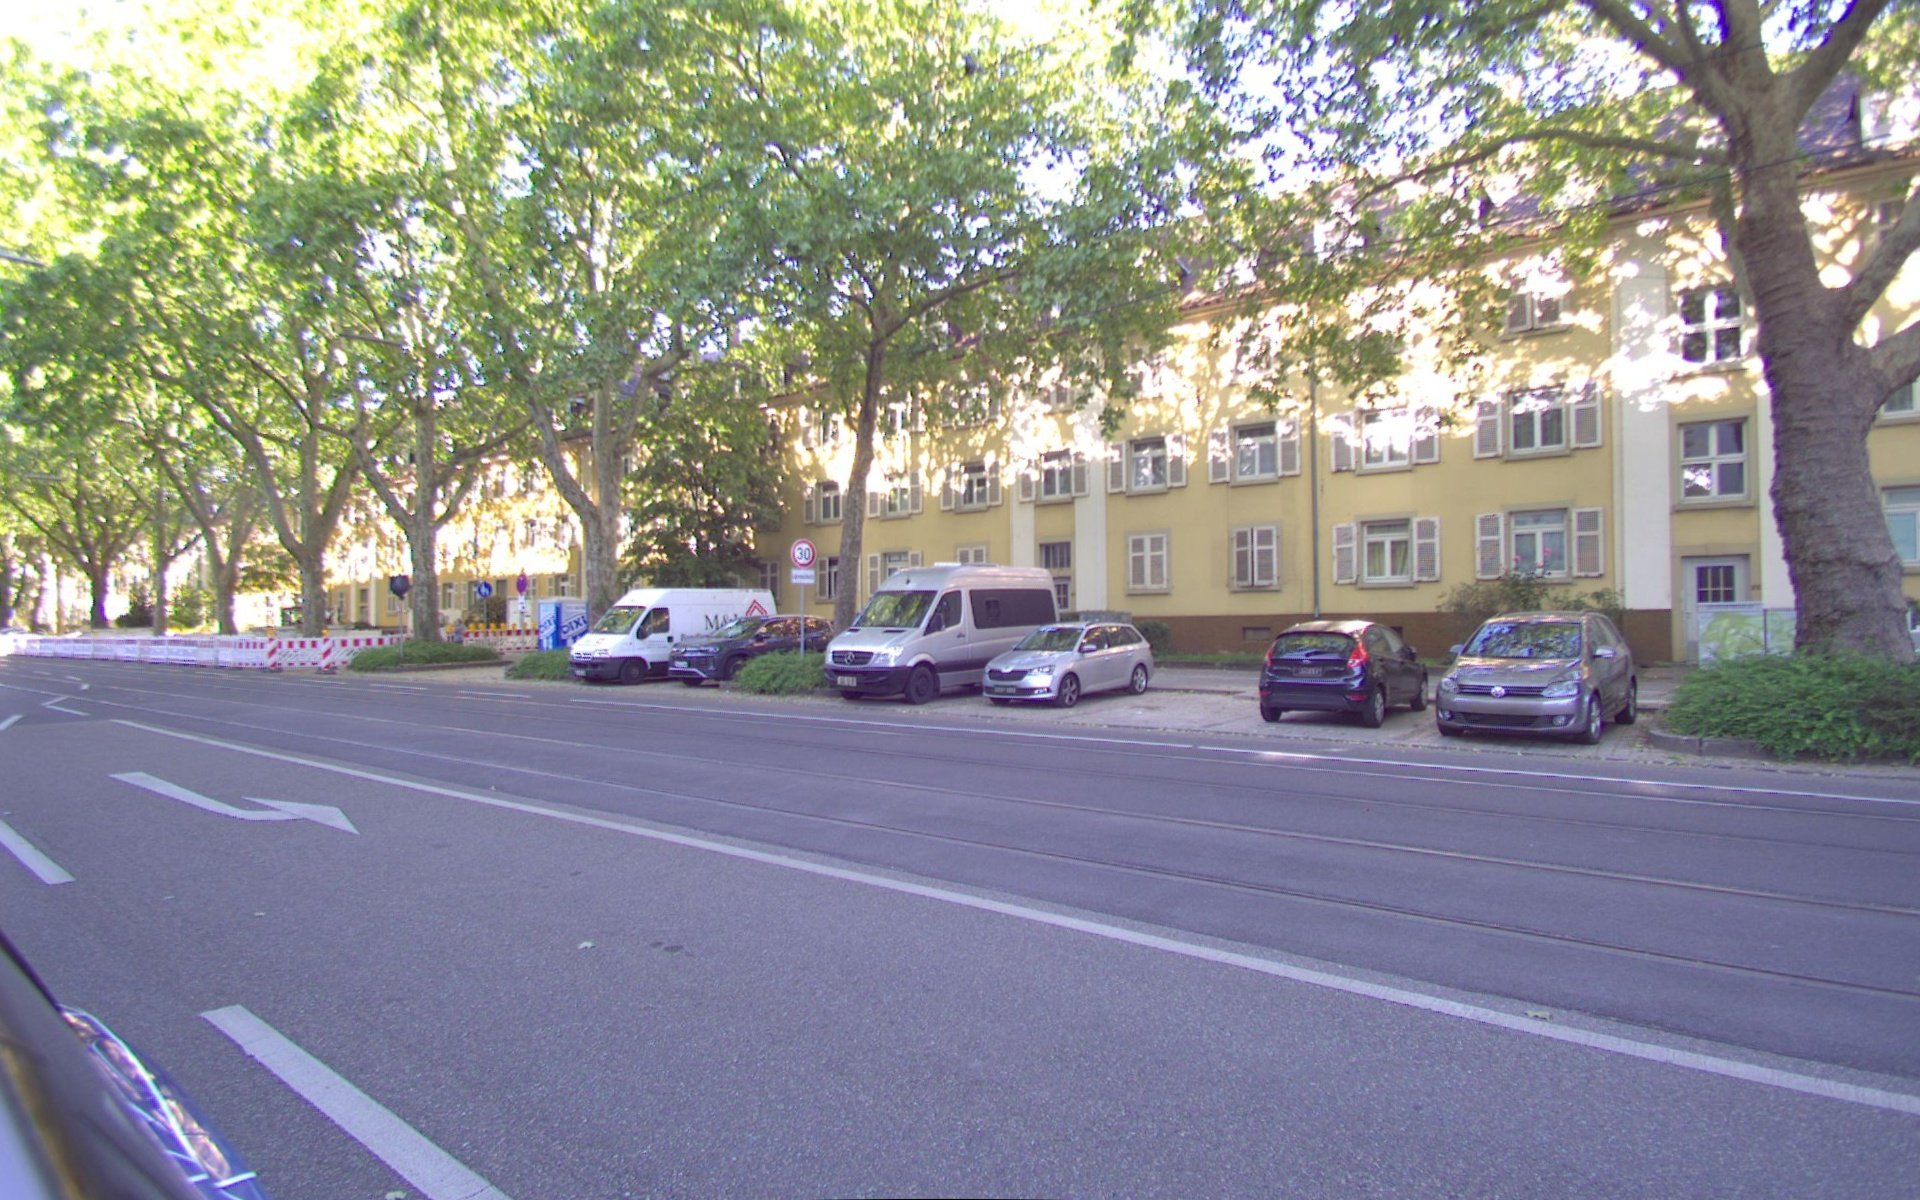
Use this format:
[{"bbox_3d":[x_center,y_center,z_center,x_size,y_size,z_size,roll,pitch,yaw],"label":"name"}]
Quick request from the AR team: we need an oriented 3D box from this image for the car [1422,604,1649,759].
[{"bbox_3d":[7.738,0.928,13.414,1.814,1.617,4.145,-2,0,41],"label":"car"}]

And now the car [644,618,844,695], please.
[{"bbox_3d":[-5.090,1.274,24.366,1.967,1.643,4.520,-2,-2,38],"label":"car"}]

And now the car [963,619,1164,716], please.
[{"bbox_3d":[2.037,1.158,18.905,1.729,1.481,4.102,0,1,40],"label":"car"}]

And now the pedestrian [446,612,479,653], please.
[{"bbox_3d":[-25.597,1.668,52.043,1.233,2.029,1.085,-2,-2,36],"label":"pedestrian"}]

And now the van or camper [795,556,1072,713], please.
[{"bbox_3d":[-0.316,0.613,20.490,2.227,2.697,6.052,-2,-1,38],"label":"van or camper"}]

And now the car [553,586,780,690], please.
[{"bbox_3d":[-7.444,0.948,26.285,2.023,2.394,5.543,-2,-2,38],"label":"car"}]

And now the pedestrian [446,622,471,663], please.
[{"bbox_3d":[-19.351,1.638,39.081,0.706,1.585,0.598,0,-2,-9],"label":"pedestrian"}]

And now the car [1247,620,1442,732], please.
[{"bbox_3d":[5.907,1.049,15.328,1.740,1.440,3.528,-2,-1,39],"label":"car"}]
